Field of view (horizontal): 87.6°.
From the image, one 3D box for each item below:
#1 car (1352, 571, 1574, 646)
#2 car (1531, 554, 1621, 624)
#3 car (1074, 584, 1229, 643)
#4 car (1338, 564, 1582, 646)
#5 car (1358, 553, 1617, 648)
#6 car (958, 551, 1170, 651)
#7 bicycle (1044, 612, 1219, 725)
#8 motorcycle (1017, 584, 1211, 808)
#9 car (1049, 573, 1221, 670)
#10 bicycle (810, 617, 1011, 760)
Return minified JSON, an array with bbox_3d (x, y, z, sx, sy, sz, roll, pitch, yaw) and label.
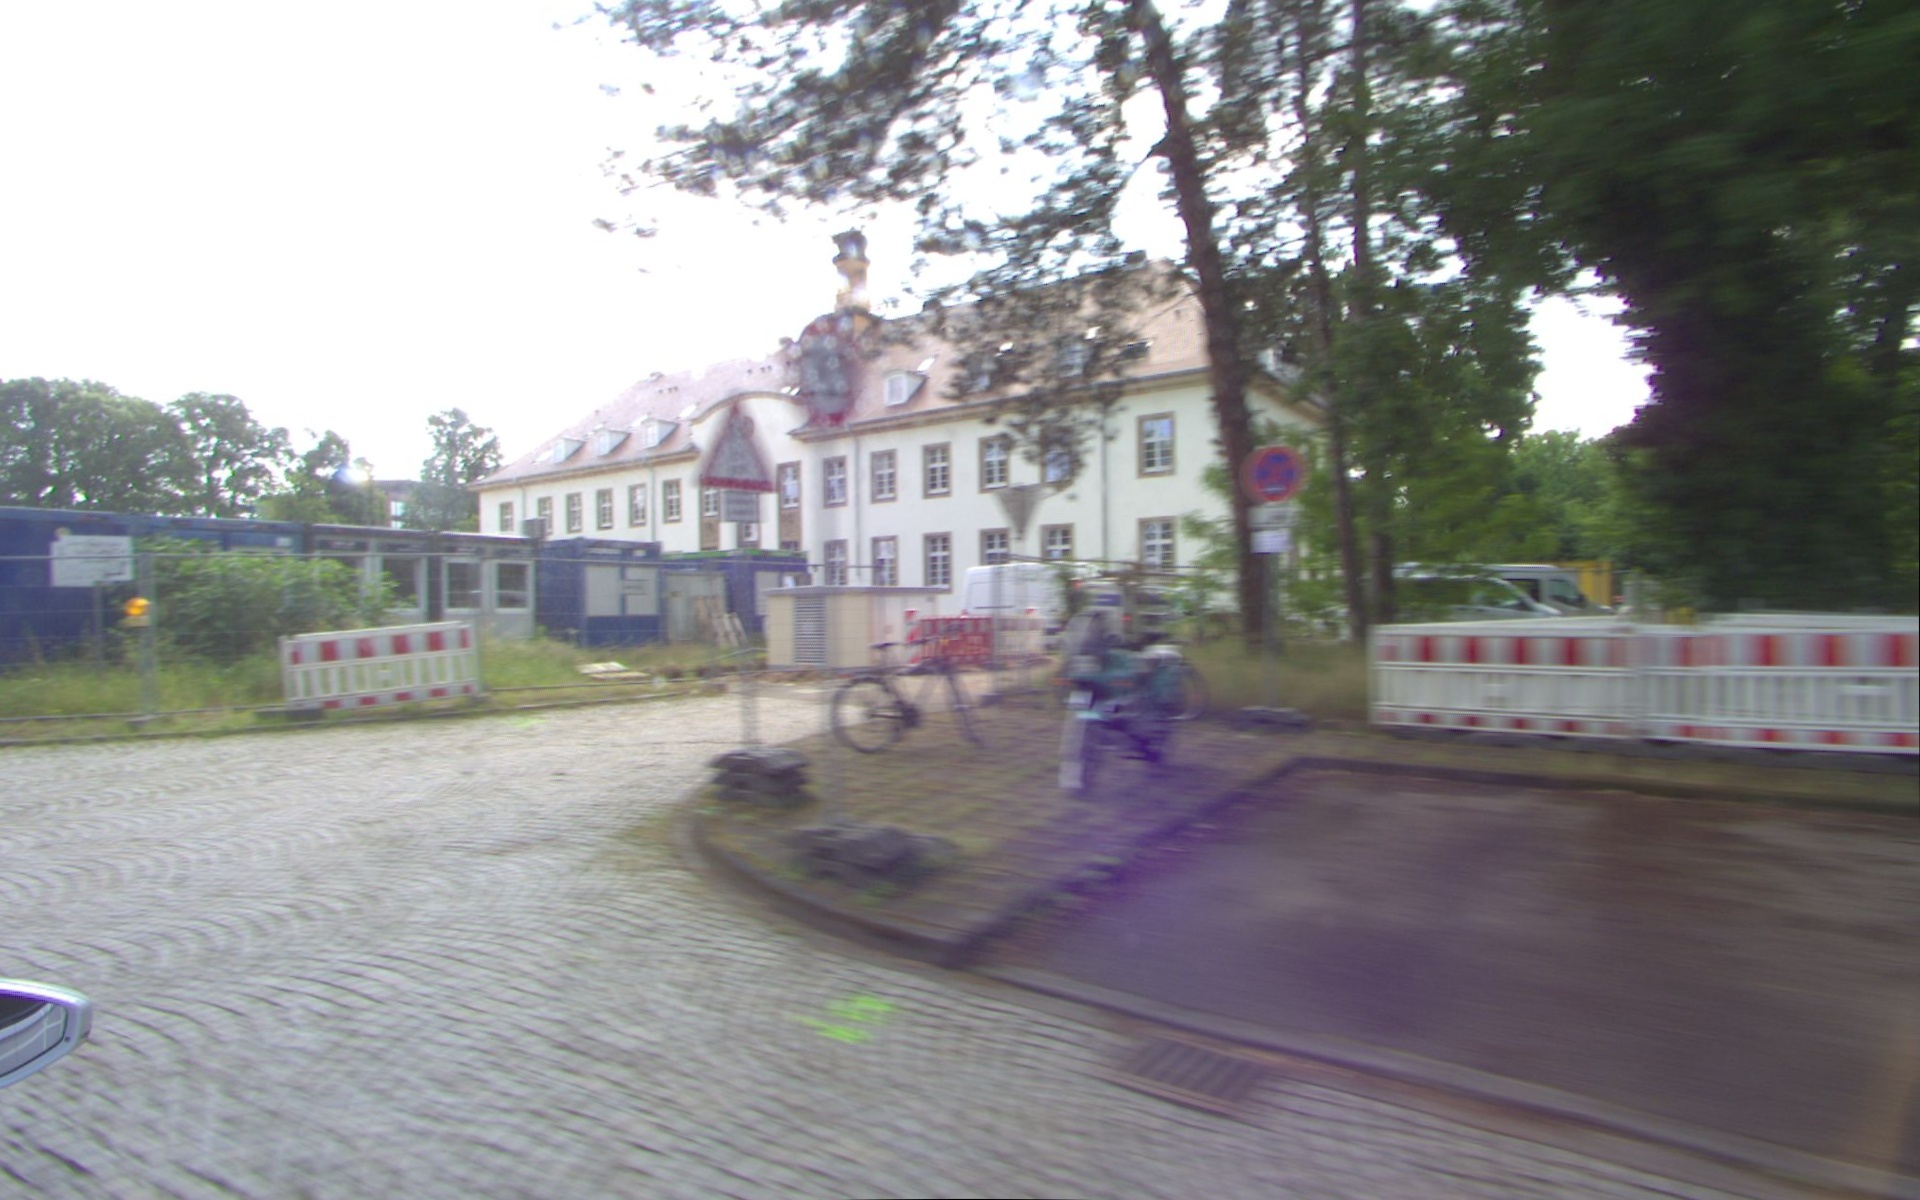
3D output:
[{"bbox_3d":[12.979,0.250,26.135,4.781,1.848,2.000,0,-1,8],"label":"car"},{"bbox_3d":[21.094,-0.269,34.142,2.183,2.122,6.125,-1,-2,36],"label":"car"},{"bbox_3d":[6.427,0.491,33.942,4.812,1.848,1.987,-1,-2,37],"label":"car"},{"bbox_3d":[11.692,0.154,23.742,4.781,1.848,2.000,0,-1,8],"label":"car"},{"bbox_3d":[15.016,0.050,28.834,6.298,2.611,2.000,0,-1,5],"label":"car"},{"bbox_3d":[2.861,0.108,28.540,5.835,2.589,1.987,-1,-2,37],"label":"car"},{"bbox_3d":[1.925,0.737,11.384,1.880,1.185,0.640,0,1,37],"label":"bicycle"},{"bbox_3d":[1.295,0.644,7.913,0.745,1.505,2.273,0,0,30],"label":"motorcycle"},{"bbox_3d":[4.049,0.424,22.441,1.881,1.946,4.843,1,1,36],"label":"car"},{"bbox_3d":[-0.446,0.795,9.649,1.881,1.213,0.651,-1,1,-36],"label":"bicycle"}]
